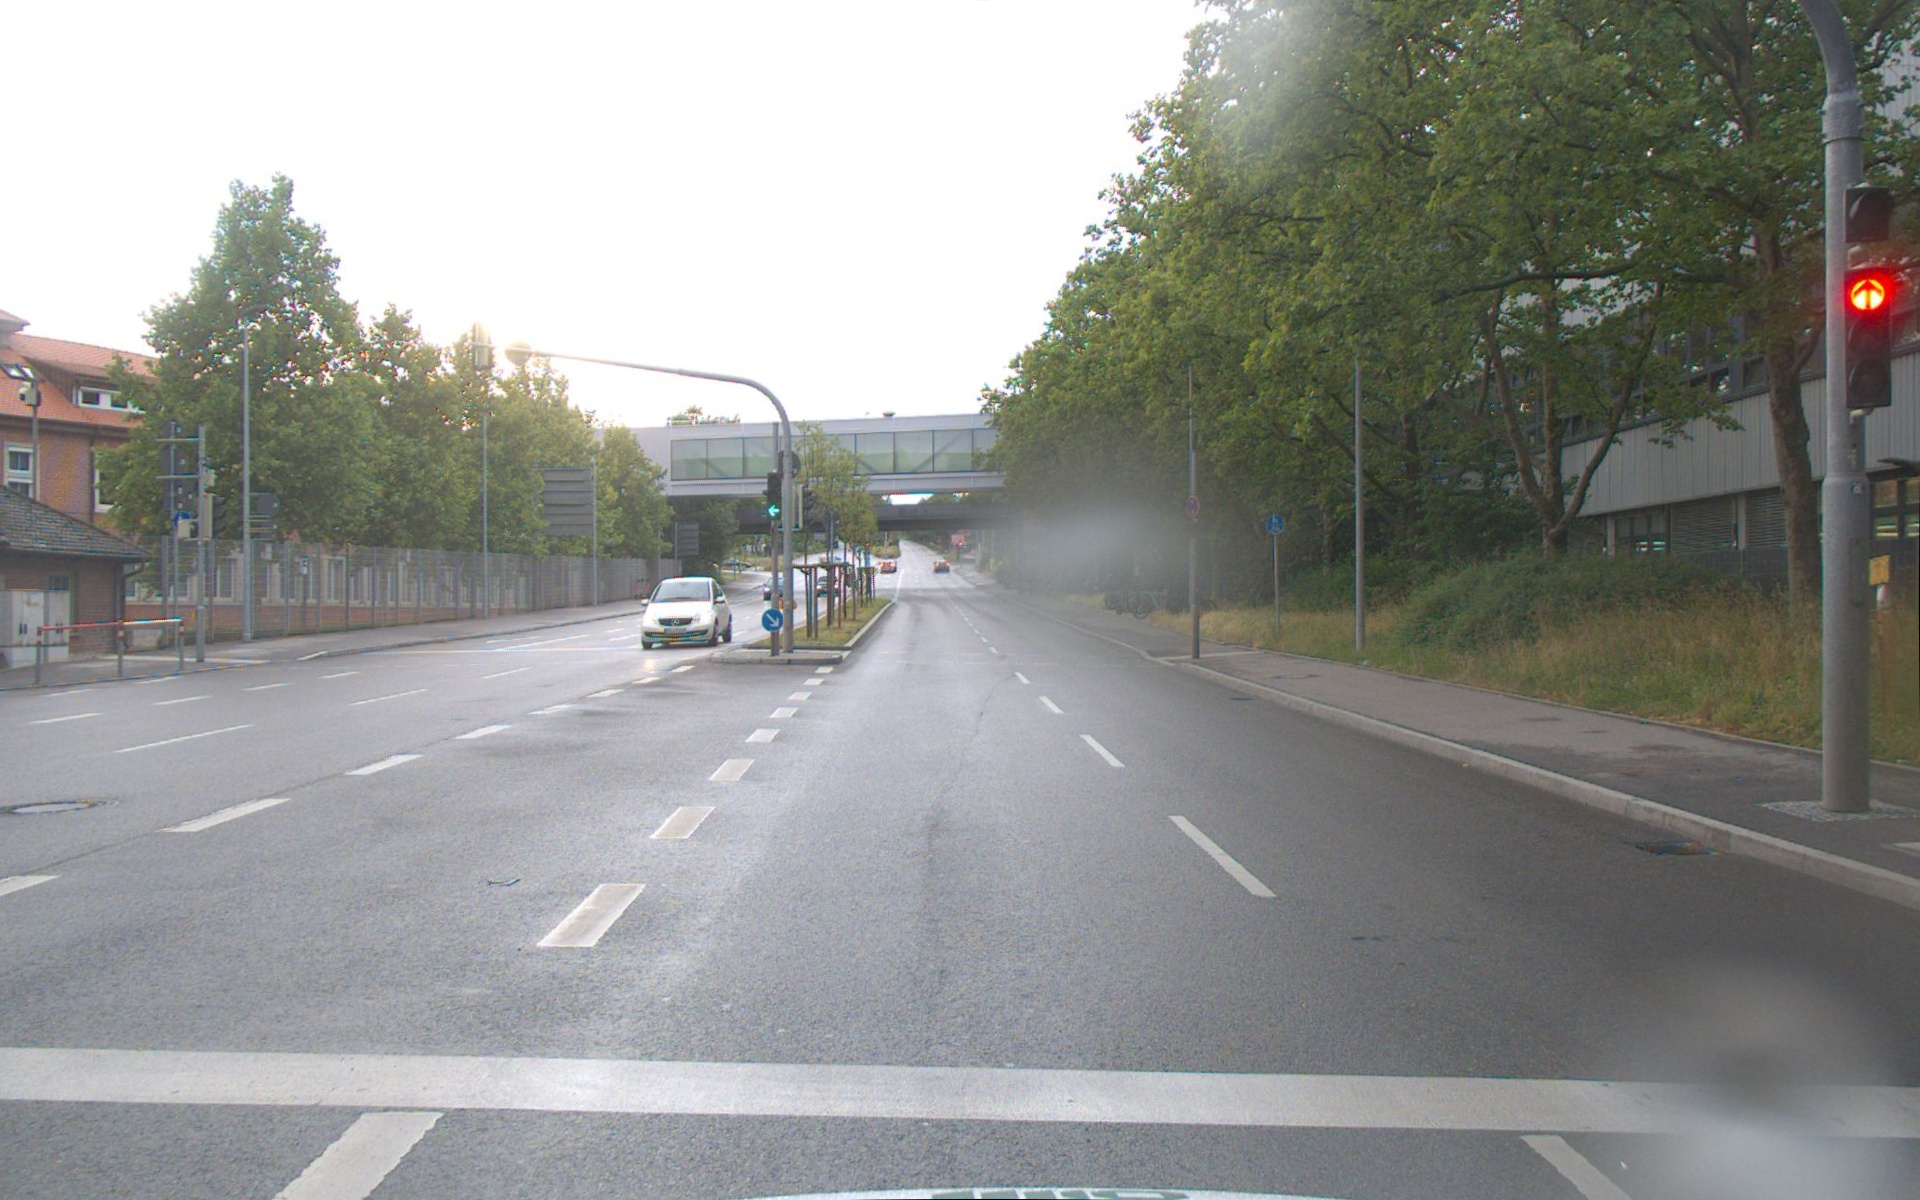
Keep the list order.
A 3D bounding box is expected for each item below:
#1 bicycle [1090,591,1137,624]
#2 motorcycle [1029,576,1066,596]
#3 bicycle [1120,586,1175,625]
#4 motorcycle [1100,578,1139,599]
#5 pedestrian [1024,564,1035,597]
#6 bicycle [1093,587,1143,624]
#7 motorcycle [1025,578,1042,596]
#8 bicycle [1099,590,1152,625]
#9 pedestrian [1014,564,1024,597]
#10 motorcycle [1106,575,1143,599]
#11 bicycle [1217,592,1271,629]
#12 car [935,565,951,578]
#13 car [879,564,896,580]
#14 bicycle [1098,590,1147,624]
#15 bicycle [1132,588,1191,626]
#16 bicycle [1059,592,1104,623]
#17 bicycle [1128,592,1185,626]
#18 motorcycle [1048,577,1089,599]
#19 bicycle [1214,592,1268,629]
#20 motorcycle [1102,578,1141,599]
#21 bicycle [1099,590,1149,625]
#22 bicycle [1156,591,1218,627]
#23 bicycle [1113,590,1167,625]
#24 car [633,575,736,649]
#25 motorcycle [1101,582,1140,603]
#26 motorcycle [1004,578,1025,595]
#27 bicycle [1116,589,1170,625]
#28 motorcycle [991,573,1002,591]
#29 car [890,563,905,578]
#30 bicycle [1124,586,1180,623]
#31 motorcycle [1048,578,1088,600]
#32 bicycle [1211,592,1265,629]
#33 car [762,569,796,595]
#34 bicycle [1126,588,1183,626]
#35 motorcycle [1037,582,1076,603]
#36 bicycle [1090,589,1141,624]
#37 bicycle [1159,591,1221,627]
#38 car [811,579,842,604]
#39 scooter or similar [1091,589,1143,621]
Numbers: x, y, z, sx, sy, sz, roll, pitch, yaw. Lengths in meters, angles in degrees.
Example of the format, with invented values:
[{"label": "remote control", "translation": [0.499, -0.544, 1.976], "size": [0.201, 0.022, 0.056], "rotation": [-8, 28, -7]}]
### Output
[{"label": "bicycle", "translation": [6.614, 0.325, 71.437], "size": [1.920, 1.352, 0.576], "rotation": [2, -1, 0]}, {"label": "motorcycle", "translation": [5.663, -0.882, 106.928], "size": [2.318, 1.223, 0.723], "rotation": [-1, 0, 7]}, {"label": "bicycle", "translation": [6.950, 0.205, 61.234], "size": [1.950, 1.364, 0.541], "rotation": [2, -1, 0]}, {"label": "motorcycle", "translation": [9.776, -0.683, 101.334], "size": [2.318, 1.223, 0.723], "rotation": [-1, 0, 7]}, {"label": "pedestrian", "translation": [4.376, -1.246, 103.644], "size": [0.609, 2.049, 0.605], "rotation": [-1, 0, -1]}, {"label": "bicycle", "translation": [6.543, 0.241, 68.634], "size": [1.950, 1.455, 0.723], "rotation": [2, -1, 0]}, {"label": "motorcycle", "translation": [5.368, -0.954, 121.503], "size": [0.775, 1.334, 2.371], "rotation": [-1, 0, -9]}, {"label": "bicycle", "translation": [6.418, 0.285, 64.240], "size": [1.950, 1.263, 0.541], "rotation": [2, -1, 0]}, {"label": "pedestrian", "translation": [3.705, -1.245, 104.098], "size": [0.609, 2.049, 0.605], "rotation": [-1, 0, -1]}, {"label": "motorcycle", "translation": [10.758, -0.868, 108.183], "size": [2.318, 1.502, 0.723], "rotation": [-1, 0, 7]}, {"label": "bicycle", "translation": [10.832, 0.399, 63.078], "size": [1.950, 1.352, 0.576], "rotation": [2, -1, 0]}, {"label": "car", "translation": [-2.082, -3.496, 203.830], "size": [1.837, 1.523, 4.067], "rotation": [2, -1, -1]}, {"label": "car", "translation": [-9.068, -3.464, 207.600], "size": [1.953, 1.792, 3.999], "rotation": [2, -1, -1]}, {"label": "bicycle", "translation": [6.825, 0.312, 69.491], "size": [1.950, 1.352, 0.576], "rotation": [2, -1, 0]}, {"label": "bicycle", "translation": [6.929, 0.239, 56.966], "size": [1.950, 1.237, 0.541], "rotation": [2, -1, 0]}, {"label": "bicycle", "translation": [5.537, 0.329, 75.437], "size": [1.923, 1.352, 0.654], "rotation": [2, -1, 0]}, {"label": "bicycle", "translation": [6.953, 0.315, 58.573], "size": [1.950, 1.114, 0.541], "rotation": [2, -1, 0]}, {"label": "motorcycle", "translation": [6.279, -0.701, 96.034], "size": [2.318, 1.223, 0.723], "rotation": [-1, 0, 7]}, {"label": "bicycle", "translation": [10.824, 0.405, 63.743], "size": [1.950, 1.352, 0.576], "rotation": [2, -1, 0]}, {"label": "motorcycle", "translation": [9.754, -0.715, 100.113], "size": [2.318, 1.223, 0.723], "rotation": [-1, 0, 7]}, {"label": "bicycle", "translation": [6.714, 0.303, 67.901], "size": [1.950, 1.352, 0.576], "rotation": [2, -1, 0]}, {"label": "bicycle", "translation": [7.617, 0.310, 55.517], "size": [1.950, 1.114, 0.541], "rotation": [2, -1, 0]}, {"label": "bicycle", "translation": [6.827, 0.285, 62.872], "size": [1.950, 1.263, 0.541], "rotation": [2, -1, 0]}, {"label": "car", "translation": [-6.509, 0.251, 39.467], "size": [1.839, 1.653, 3.778], "rotation": [-1, 0, -1]}, {"label": "motorcycle", "translation": [9.955, -0.471, 102.489], "size": [2.318, 1.223, 0.723], "rotation": [-1, 0, 7]}, {"label": "motorcycle", "translation": [4.170, -1.033, 126.616], "size": [0.778, 1.334, 2.364], "rotation": [-1, 0, -19]}, {"label": "bicycle", "translation": [6.845, 0.276, 61.923], "size": [1.950, 1.263, 0.541], "rotation": [2, -1, 0]}, {"label": "motorcycle", "translation": [3.237, -1.589, 145.686], "size": [0.774, 1.560, 2.375], "rotation": [-1, 0, -2]}, {"label": "car", "translation": [-8.089, -3.765, 214.224], "size": [1.846, 1.792, 3.968], "rotation": [2, -1, -1]}, {"label": "bicycle", "translation": [6.972, 0.157, 60.074], "size": [1.950, 1.263, 0.541], "rotation": [2, -1, 0]}, {"label": "motorcycle", "translation": [6.388, -0.663, 98.137], "size": [2.318, 1.223, 0.723], "rotation": [-1, 0, 7]}, {"label": "bicycle", "translation": [10.828, 0.413, 64.421], "size": [1.950, 1.352, 0.576], "rotation": [2, -1, 0]}, {"label": "car", "translation": [-11.911, -1.152, 108.866], "size": [1.839, 1.653, 3.778], "rotation": [-1, 0, -1]}, {"label": "bicycle", "translation": [6.963, 0.255, 59.156], "size": [1.950, 1.255, 0.541], "rotation": [2, -1, 0]}, {"label": "motorcycle", "translation": [5.981, -0.455, 102.613], "size": [2.318, 1.223, 0.723], "rotation": [-1, 0, 7]}, {"label": "bicycle", "translation": [6.299, 0.278, 66.953], "size": [1.950, 1.352, 0.576], "rotation": [2, -1, 0]}, {"label": "bicycle", "translation": [7.624, 0.304, 54.948], "size": [1.950, 1.114, 0.541], "rotation": [2, -1, 0]}, {"label": "car", "translation": [-9.068, -0.573, 112.401], "size": [1.839, 1.653, 3.778], "rotation": [-1, 0, -1]}, {"label": "scooter or similar", "translation": [6.161, 0.195, 65.023], "size": [1.950, 1.157, 0.541], "rotation": [2, -1, 0]}]
